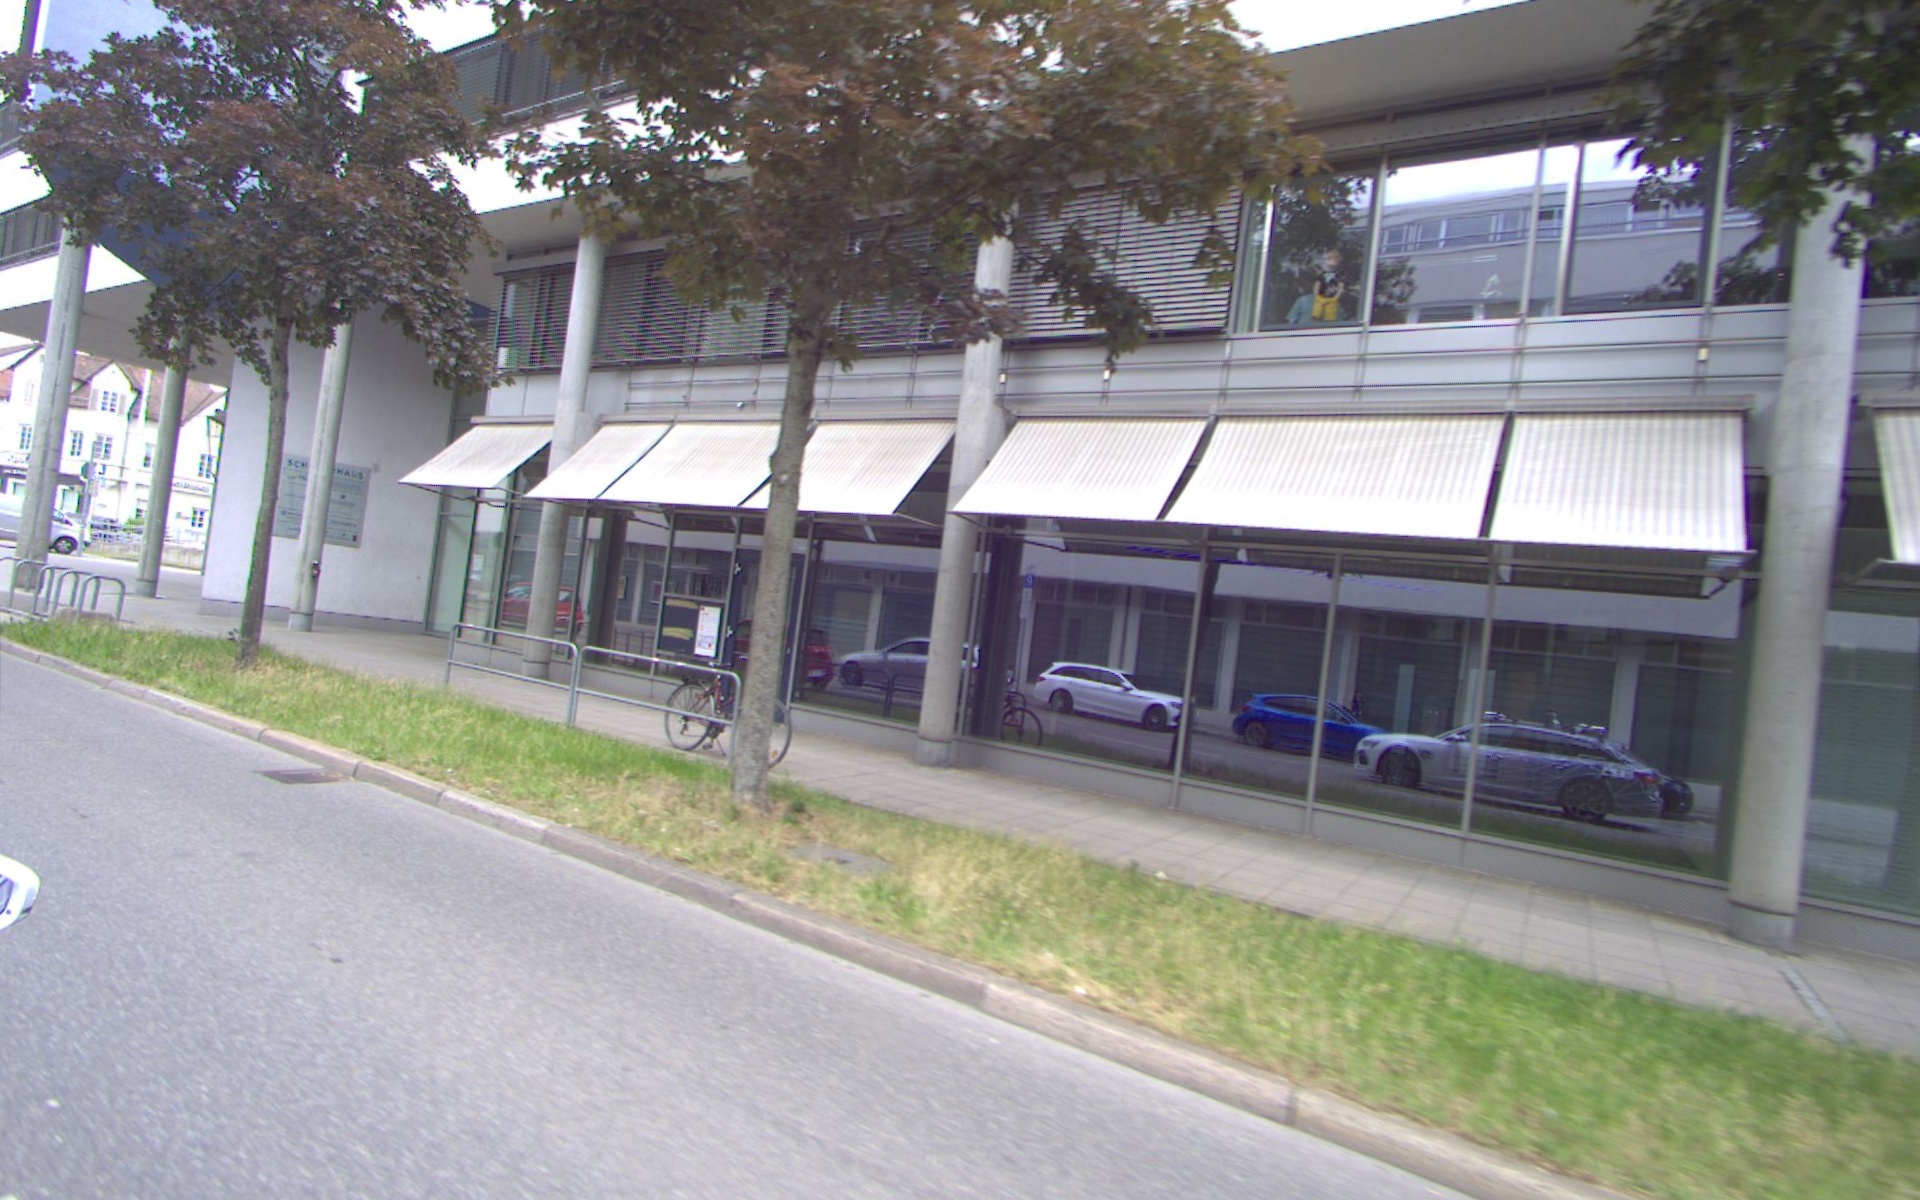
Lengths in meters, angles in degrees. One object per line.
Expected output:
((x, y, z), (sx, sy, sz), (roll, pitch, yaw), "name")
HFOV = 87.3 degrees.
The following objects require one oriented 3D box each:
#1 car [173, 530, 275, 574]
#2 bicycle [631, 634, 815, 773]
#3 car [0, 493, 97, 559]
((-47.115, -3.074, 64.481), (4.701, 1.939, 1.990), (8, -3, -7), "car")
((-2.438, 1.018, 10.206), (1.993, 1.098, 0.362), (6, -2, 31), "bicycle")
((-36.998, -3.071, 38.988), (1.850, 1.965, 4.913), (7, -4, 24), "car")
